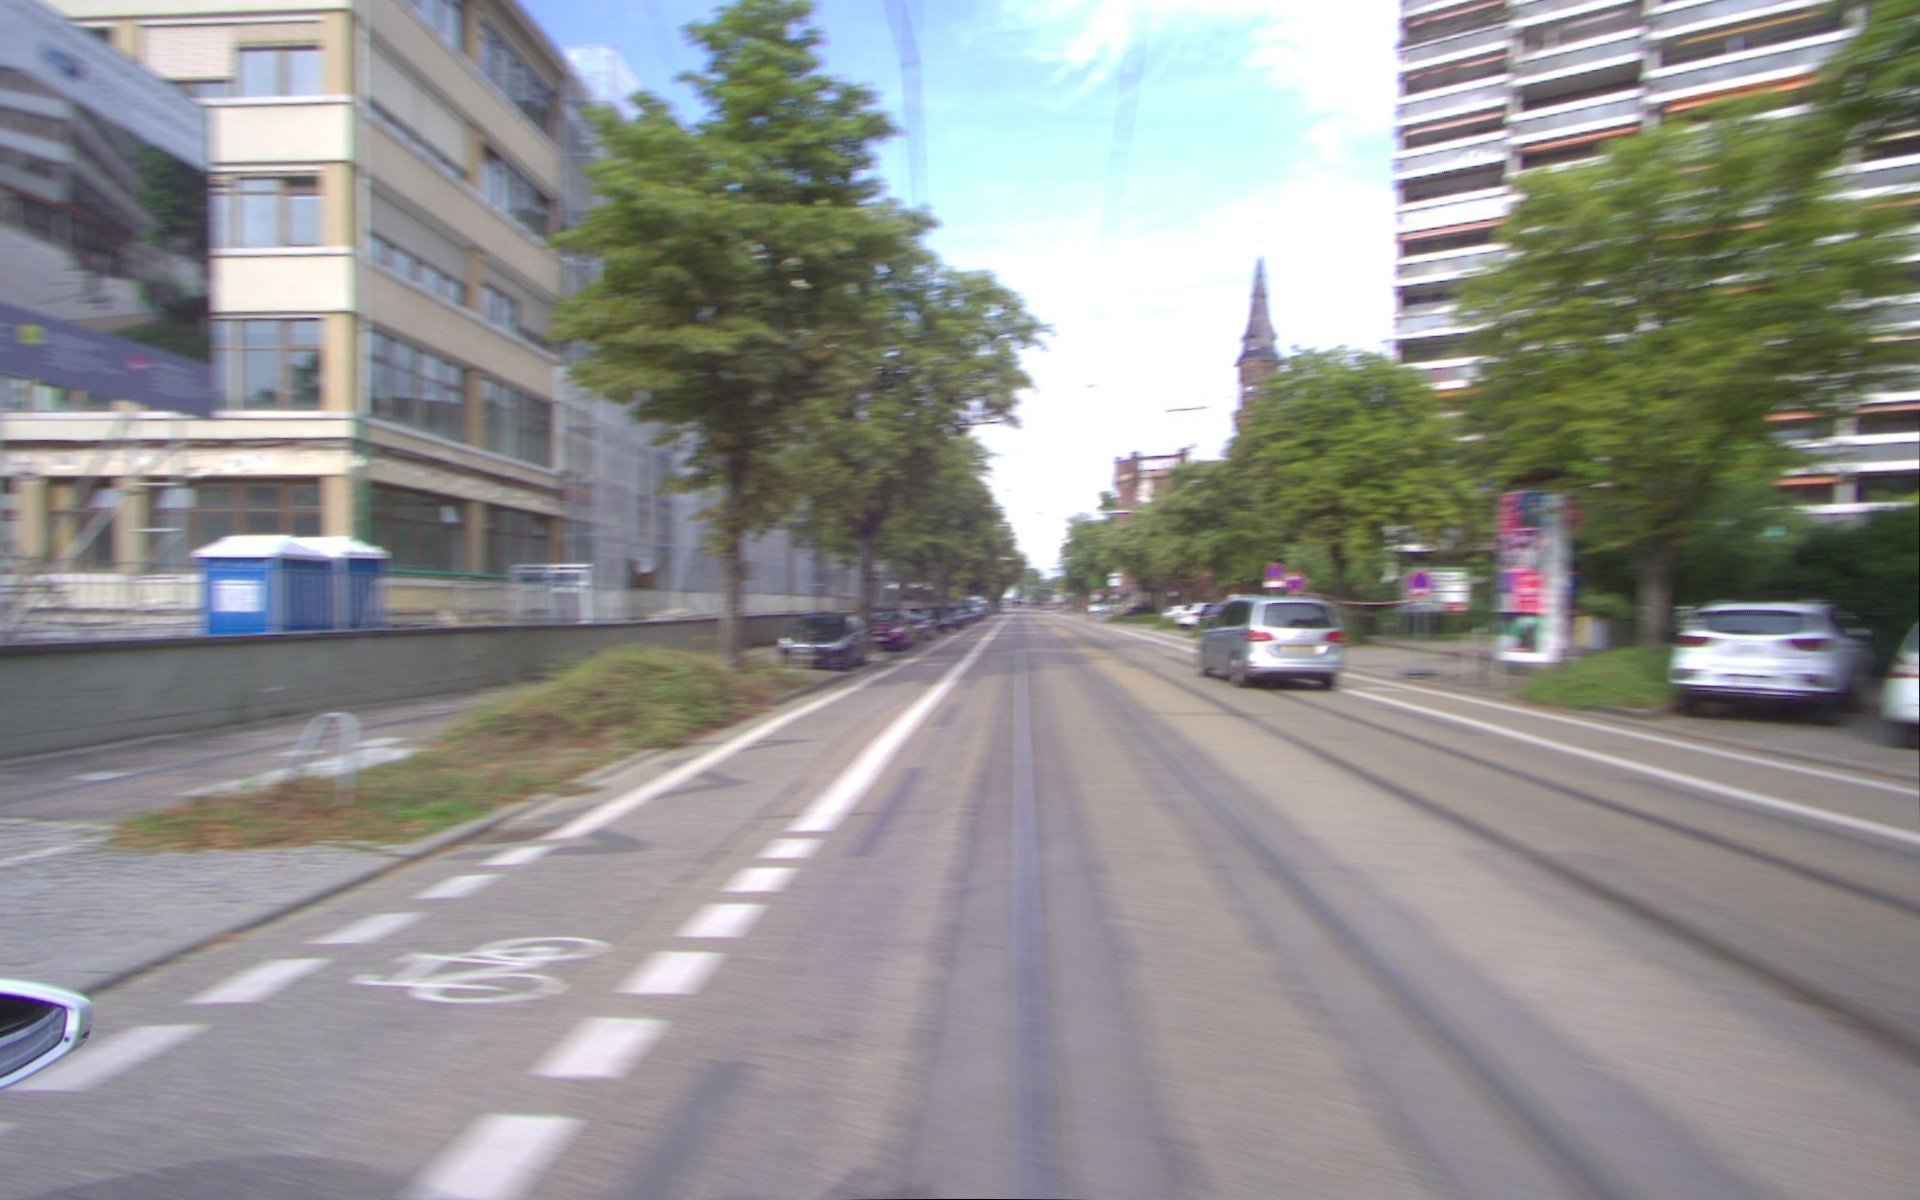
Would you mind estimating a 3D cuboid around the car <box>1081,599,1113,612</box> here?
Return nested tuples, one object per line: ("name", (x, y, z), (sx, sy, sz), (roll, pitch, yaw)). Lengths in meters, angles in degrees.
("car", (18.624, 0.768, 136.430), (3.922, 1.716, 1.999), (1, 1, -2))

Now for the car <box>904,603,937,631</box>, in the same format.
("car", (-2.124, 0.909, 54.996), (1.564, 1.421, 3.962), (1, 0, 1))

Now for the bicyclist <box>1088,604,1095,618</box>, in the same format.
("bicyclist", (13.680, 1.112, 103.844), (0.583, 1.479, 0.875), (1, 1, 1))

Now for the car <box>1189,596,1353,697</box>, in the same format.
("car", (5.959, 0.801, 19.802), (1.782, 1.723, 4.616), (1, 0, 0))

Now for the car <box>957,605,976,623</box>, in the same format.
("car", (0.579, 1.205, 85.615), (1.564, 1.421, 3.962), (1, 0, 1))

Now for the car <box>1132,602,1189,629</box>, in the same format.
("car", (12.507, 0.951, 62.429), (3.610, 1.623, 1.666), (1, 0, -43))

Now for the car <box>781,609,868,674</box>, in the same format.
("car", (-3.296, 0.980, 24.993), (1.564, 1.421, 3.962), (1, 0, 1))

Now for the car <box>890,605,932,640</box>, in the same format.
("car", (-2.148, 0.959, 44.691), (1.564, 1.421, 3.962), (1, 0, 1))

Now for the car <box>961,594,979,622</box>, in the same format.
("car", (1.035, 0.768, 98.981), (1.692, 2.740, 5.469), (1, 0, 1))

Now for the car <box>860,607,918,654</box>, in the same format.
("car", (-2.447, 1.021, 35.440), (1.609, 1.516, 3.962), (1, 0, 2))

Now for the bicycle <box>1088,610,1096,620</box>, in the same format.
("bicycle", (13.669, 1.534, 103.852), (0.583, 1.057, 1.977), (1, 0, 1))

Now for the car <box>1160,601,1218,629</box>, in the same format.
("car", (13.790, 0.924, 60.219), (3.610, 1.623, 1.666), (1, 0, -43))

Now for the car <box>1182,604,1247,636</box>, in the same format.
("car", (13.567, 1.050, 53.293), (3.610, 1.623, 1.666), (1, 0, -43))

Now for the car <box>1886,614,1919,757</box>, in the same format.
("car", (11.818, 0.926, 11.086), (3.602, 1.494, 1.669), (1, 0, -37))

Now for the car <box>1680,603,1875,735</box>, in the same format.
("car", (11.709, 0.882, 14.270), (3.610, 1.623, 1.666), (1, 0, -43))
